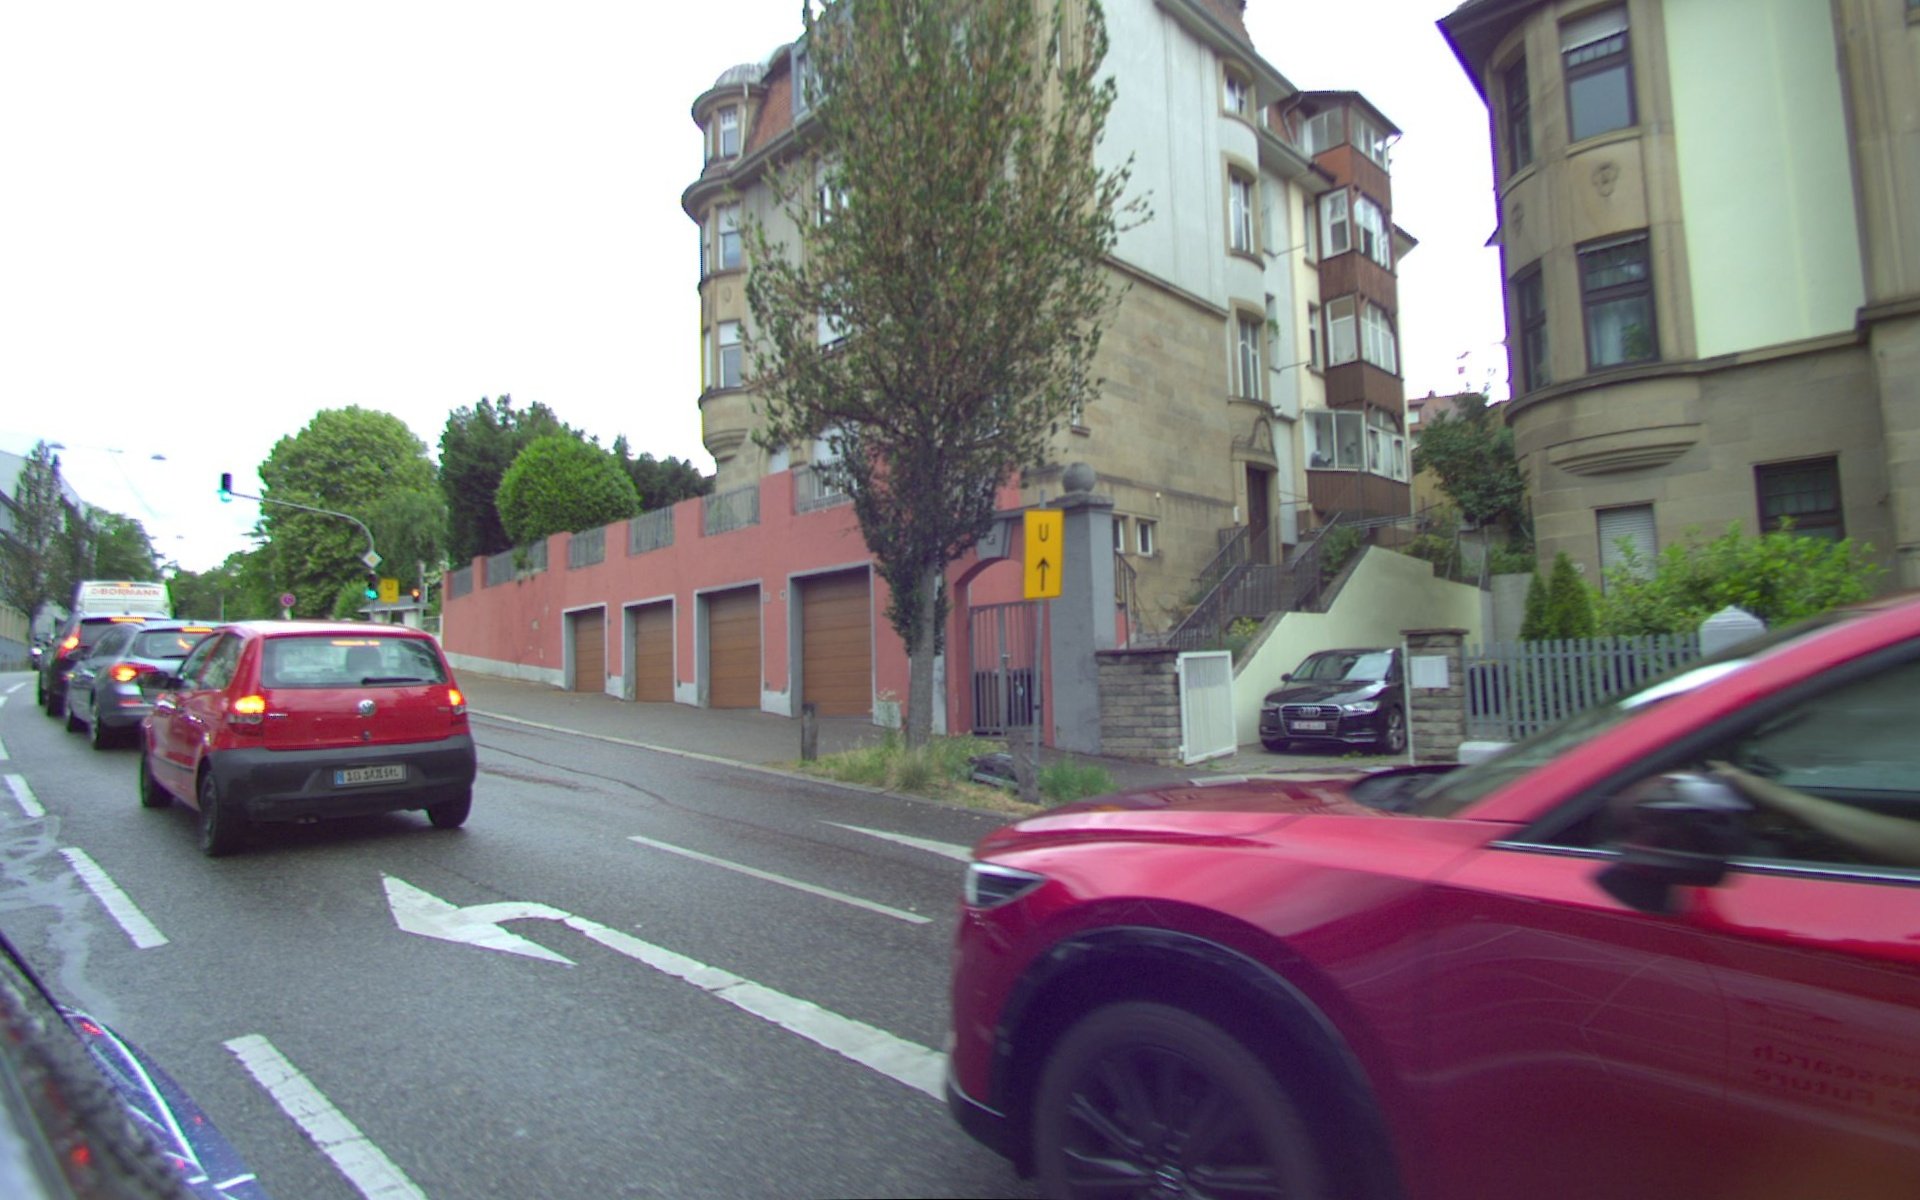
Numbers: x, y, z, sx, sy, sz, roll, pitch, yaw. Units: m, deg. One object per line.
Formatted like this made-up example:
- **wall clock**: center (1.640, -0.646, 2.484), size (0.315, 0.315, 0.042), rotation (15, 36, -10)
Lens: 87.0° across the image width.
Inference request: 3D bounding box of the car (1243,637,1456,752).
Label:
- **car**: center (5.614, 1.270, 14.375), size (1.787, 1.409, 3.515), rotation (-3, -4, 40)

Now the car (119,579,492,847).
- **car**: center (-5.313, 0.728, 7.989), size (4.002, 1.580, 1.636), rotation (-2, -3, 45)

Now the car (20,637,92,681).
- **car**: center (-36.513, 2.336, 40.957), size (1.708, 1.631, 3.485), rotation (0, -1, -34)

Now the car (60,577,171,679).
- **car**: center (-23.382, 0.808, 28.213), size (2.090, 2.565, 5.551), rotation (2, -3, -38)

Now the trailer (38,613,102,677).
- **trailer**: center (-38.351, 1.888, 43.656), size (1.743, 2.645, 3.040), rotation (0, -1, -35)

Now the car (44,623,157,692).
- **car**: center (-19.668, 1.282, 23.109), size (1.793, 1.441, 4.005), rotation (3, -4, -42)

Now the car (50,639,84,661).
- **car**: center (-62.955, 3.543, 71.392), size (1.566, 1.422, 3.462), rotation (4, -6, -39)

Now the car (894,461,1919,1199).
- **car**: center (2.074, 0.664, 1.790), size (4.275, 1.596, 1.827), rotation (-2, -5, 40)

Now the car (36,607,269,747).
- **car**: center (-10.477, 0.919, 13.018), size (4.264, 1.509, 1.754), rotation (-2, -4, 44)

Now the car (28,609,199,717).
- **car**: center (-14.506, 0.992, 17.248), size (1.853, 1.587, 4.588), rotation (1, -2, -45)
